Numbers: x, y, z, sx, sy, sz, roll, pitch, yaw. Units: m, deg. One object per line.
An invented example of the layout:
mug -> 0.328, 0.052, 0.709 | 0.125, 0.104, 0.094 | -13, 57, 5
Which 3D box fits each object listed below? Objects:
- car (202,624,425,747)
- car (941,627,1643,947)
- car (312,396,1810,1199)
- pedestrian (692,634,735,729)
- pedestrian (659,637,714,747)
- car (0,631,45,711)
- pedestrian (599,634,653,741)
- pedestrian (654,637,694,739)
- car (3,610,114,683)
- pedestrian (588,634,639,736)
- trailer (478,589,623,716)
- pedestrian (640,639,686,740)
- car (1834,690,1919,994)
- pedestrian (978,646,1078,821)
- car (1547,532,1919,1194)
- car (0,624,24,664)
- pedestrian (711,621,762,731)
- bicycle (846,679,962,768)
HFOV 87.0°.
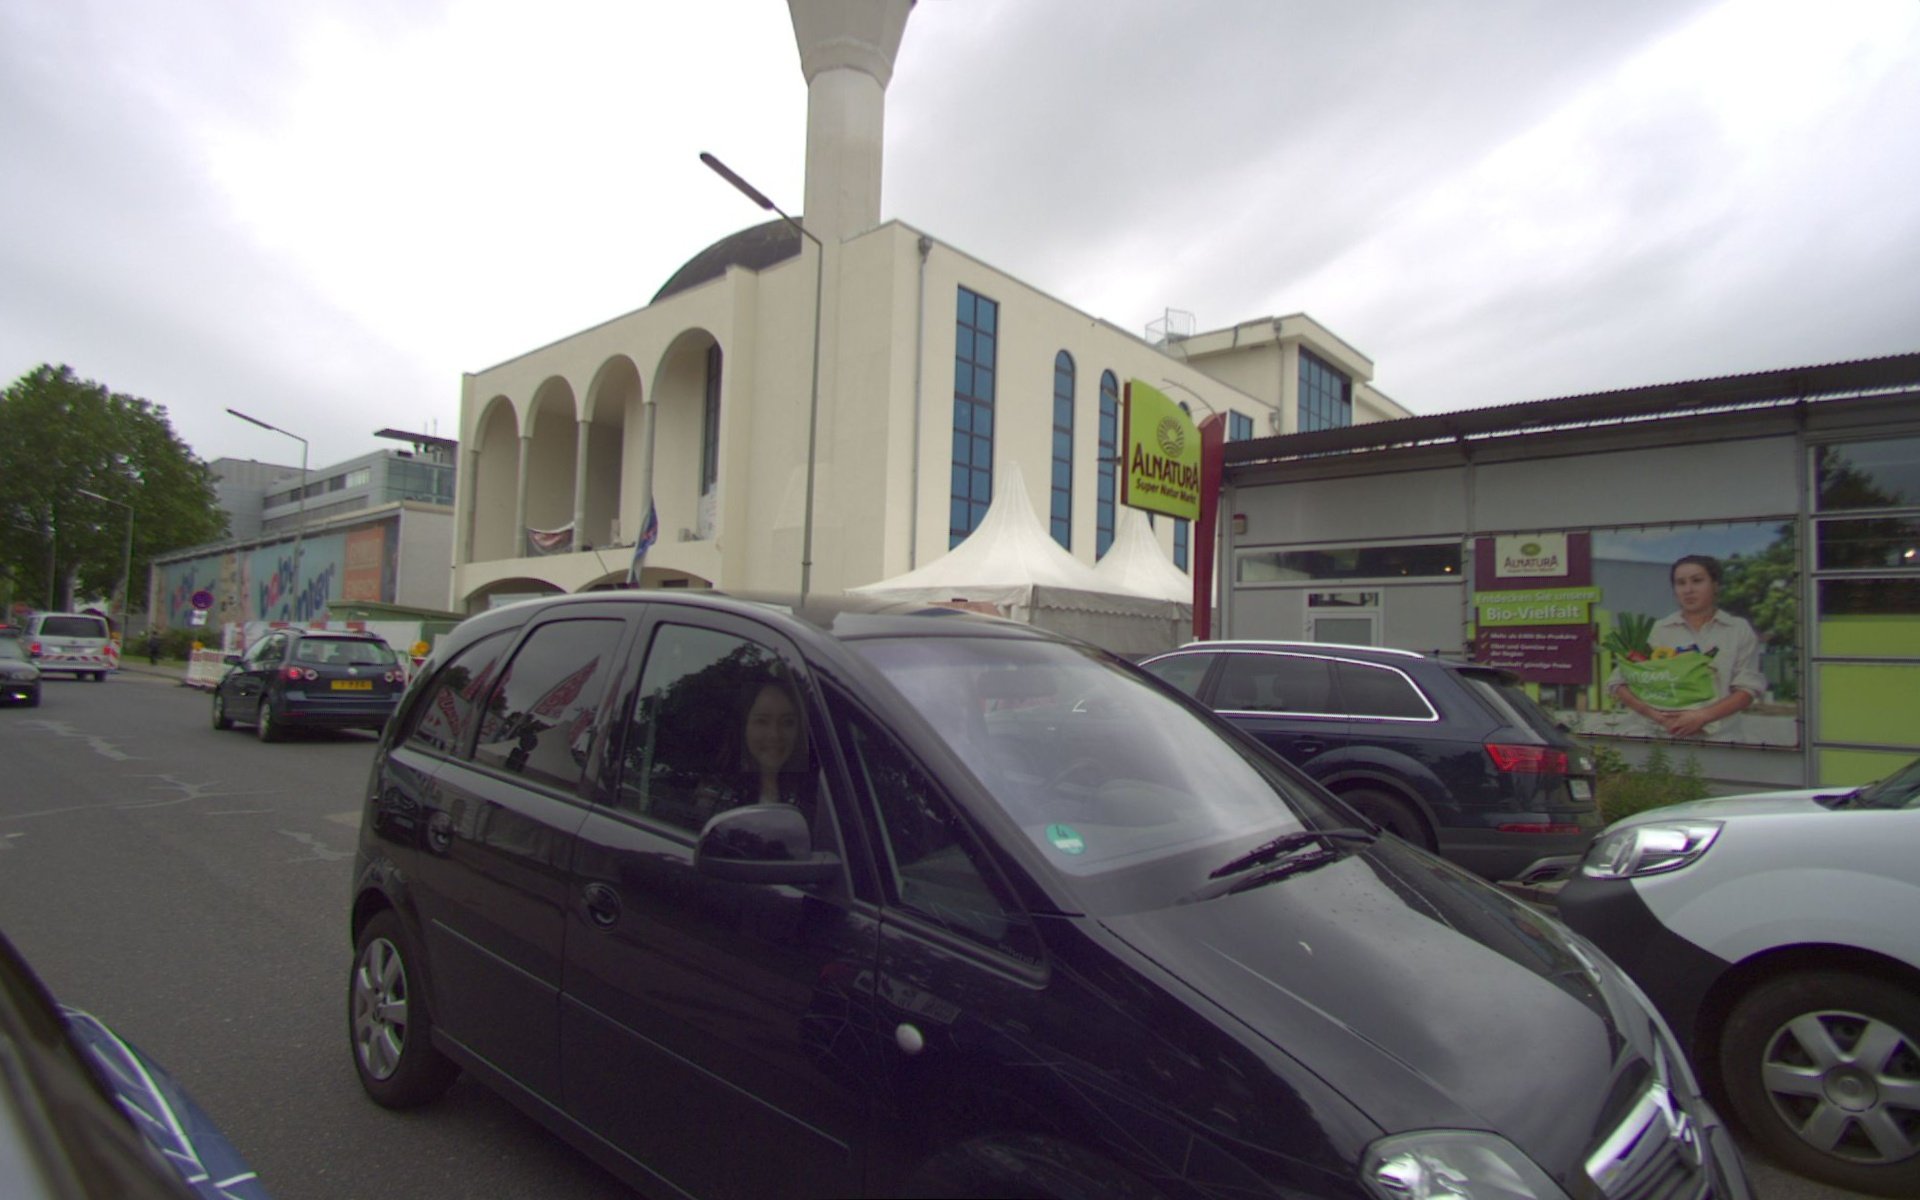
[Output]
car -> -9.709, 1.217, 15.093 | 3.945, 1.584, 1.710 | -1, -6, 42
car -> 2.239, 1.152, 7.735 | 4.728, 1.704, 1.845 | -2, -8, 43
car -> -0.161, 0.717, 2.758 | 3.757, 1.644, 1.663 | -1, -5, 41
pedestrian -> -4.289, 1.401, 17.602 | 0.532, 1.624, 0.491 | 3, -3, -42
pedestrian -> -4.167, 1.400, 15.433 | 0.535, 1.624, 0.488 | 2, -5, 14
car -> -18.960, 1.305, 19.366 | 4.137, 1.369, 1.727 | -1, -2, 42
pedestrian -> -5.654, 1.479, 17.150 | 0.681, 1.763, 0.491 | 2, -4, -3
pedestrian -> -5.055, 1.551, 17.899 | 0.521, 1.763, 0.491 | 2, -4, -3
car -> -27.346, 1.380, 30.636 | 4.955, 2.029, 1.906 | -1, -4, 43
pedestrian -> -6.125, 1.494, 17.914 | 0.681, 1.763, 0.491 | 2, -4, -3
trailer -> -9.209, 1.179, 22.705 | 3.192, 2.627, 1.777 | -2, -5, 45
pedestrian -> -4.917, 1.480, 16.755 | 0.563, 1.624, 0.491 | 2, -4, -3
car -> 6.476, 1.211, 4.018 | 4.516, 1.378, 1.681 | -1, -9, 41
pedestrian -> 0.674, 1.316, 10.050 | 0.664, 1.634, 0.655 | 7, -7, -23
car -> 4.023, 0.733, 2.562 | 4.134, 1.774, 1.671 | -2, -5, 43
car -> -42.941, 1.854, 44.568 | 4.652, 1.674, 1.938 | -1, -7, 42
pedestrian -> -3.629, 1.227, 16.476 | 0.685, 1.731, 0.688 | -2, -3, -4
bicycle -> -0.823, 1.710, 14.355 | 0.537, 1.086, 1.903 | 4, -3, -42
